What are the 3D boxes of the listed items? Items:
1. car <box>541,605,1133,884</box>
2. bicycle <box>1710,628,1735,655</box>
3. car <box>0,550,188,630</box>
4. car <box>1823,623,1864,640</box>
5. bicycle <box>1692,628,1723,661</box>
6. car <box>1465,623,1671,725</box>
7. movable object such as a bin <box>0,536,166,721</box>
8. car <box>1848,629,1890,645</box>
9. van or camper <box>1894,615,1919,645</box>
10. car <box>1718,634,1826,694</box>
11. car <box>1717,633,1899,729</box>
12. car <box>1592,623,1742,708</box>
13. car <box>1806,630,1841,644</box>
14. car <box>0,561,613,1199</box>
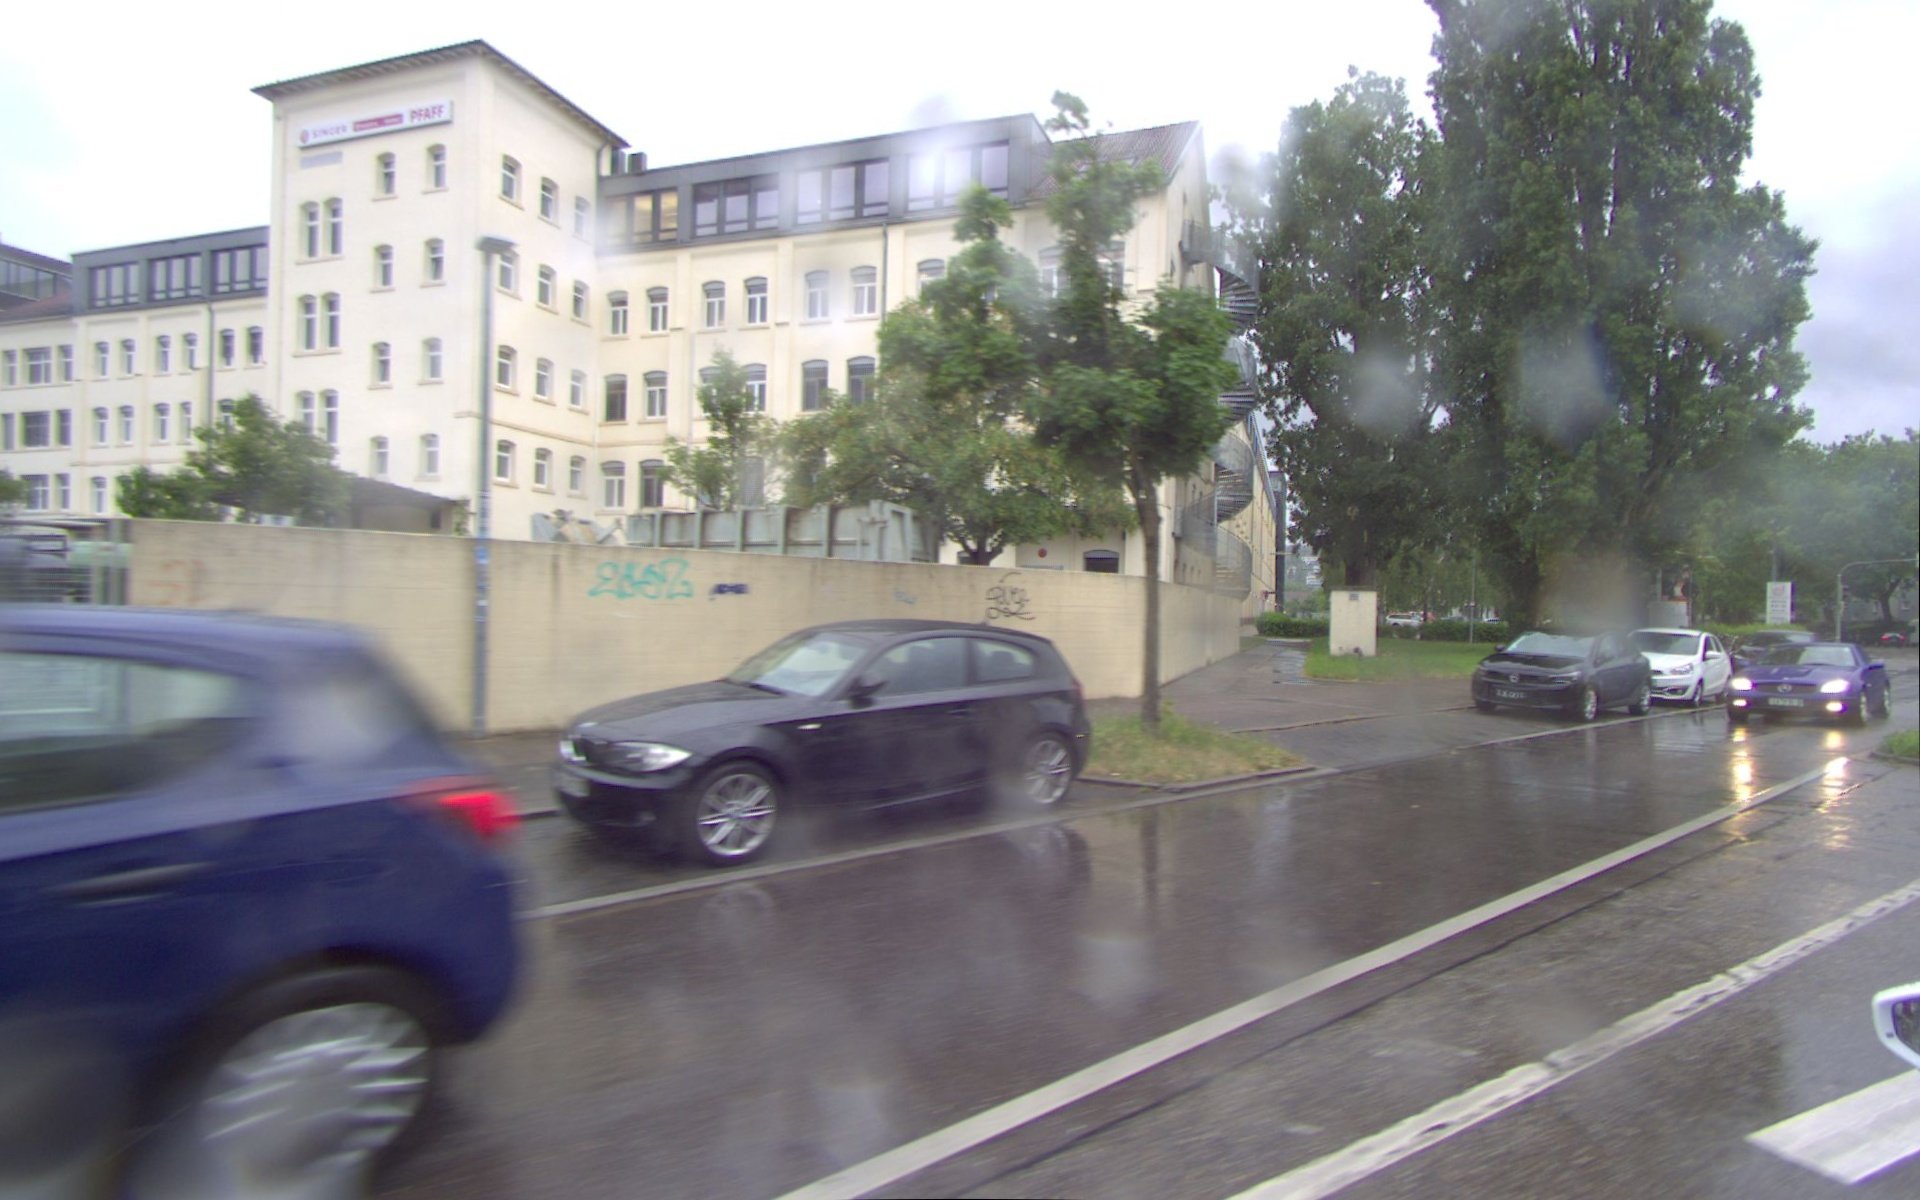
[{"bbox_3d":[-0.726,0.851,7.437,4.063,1.464,1.682,2,1,-40],"label":"car"},{"bbox_3d":[31.187,1.690,41.054,0.550,1.091,1.784,2,0,45],"label":"bicycle"},{"bbox_3d":[-25.369,-0.274,28.773,2.108,2.111,4.719,2,0,22],"label":"car"},{"bbox_3d":[96.576,3.418,109.857,1.884,1.642,4.370,2,0,21],"label":"car"},{"bbox_3d":[28.572,1.706,38.382,1.614,1.202,0.690,2,0,-45],"label":"bicycle"},{"bbox_3d":[10.332,1.172,16.942,4.147,1.401,1.712,2,2,-41],"label":"car"},{"bbox_3d":[-7.980,0.203,8.627,1.741,1.443,1.895,2,0,-38],"label":"movable object such as a bin"},{"bbox_3d":[84.616,3.420,93.557,1.678,1.430,3.643,-1,-1,22],"label":"car"},{"bbox_3d":[90.665,2.836,94.147,2.282,2.844,6.860,2,0,23],"label":"van or camper"},{"bbox_3d":[22.169,1.690,27.370,4.161,1.416,1.531,2,1,-41],"label":"car"},{"bbox_3d":[14.187,1.277,16.739,3.919,1.411,1.712,2,-3,-41],"label":"car"},{"bbox_3d":[14.344,1.267,20.305,4.092,1.493,1.587,2,0,-42],"label":"car"},{"bbox_3d":[91.439,3.879,106.393,1.678,1.430,3.643,-1,-1,22],"label":"car"},{"bbox_3d":[-3.022,0.685,2.242,3.913,1.520,1.692,2,-3,-40],"label":"car"}]
